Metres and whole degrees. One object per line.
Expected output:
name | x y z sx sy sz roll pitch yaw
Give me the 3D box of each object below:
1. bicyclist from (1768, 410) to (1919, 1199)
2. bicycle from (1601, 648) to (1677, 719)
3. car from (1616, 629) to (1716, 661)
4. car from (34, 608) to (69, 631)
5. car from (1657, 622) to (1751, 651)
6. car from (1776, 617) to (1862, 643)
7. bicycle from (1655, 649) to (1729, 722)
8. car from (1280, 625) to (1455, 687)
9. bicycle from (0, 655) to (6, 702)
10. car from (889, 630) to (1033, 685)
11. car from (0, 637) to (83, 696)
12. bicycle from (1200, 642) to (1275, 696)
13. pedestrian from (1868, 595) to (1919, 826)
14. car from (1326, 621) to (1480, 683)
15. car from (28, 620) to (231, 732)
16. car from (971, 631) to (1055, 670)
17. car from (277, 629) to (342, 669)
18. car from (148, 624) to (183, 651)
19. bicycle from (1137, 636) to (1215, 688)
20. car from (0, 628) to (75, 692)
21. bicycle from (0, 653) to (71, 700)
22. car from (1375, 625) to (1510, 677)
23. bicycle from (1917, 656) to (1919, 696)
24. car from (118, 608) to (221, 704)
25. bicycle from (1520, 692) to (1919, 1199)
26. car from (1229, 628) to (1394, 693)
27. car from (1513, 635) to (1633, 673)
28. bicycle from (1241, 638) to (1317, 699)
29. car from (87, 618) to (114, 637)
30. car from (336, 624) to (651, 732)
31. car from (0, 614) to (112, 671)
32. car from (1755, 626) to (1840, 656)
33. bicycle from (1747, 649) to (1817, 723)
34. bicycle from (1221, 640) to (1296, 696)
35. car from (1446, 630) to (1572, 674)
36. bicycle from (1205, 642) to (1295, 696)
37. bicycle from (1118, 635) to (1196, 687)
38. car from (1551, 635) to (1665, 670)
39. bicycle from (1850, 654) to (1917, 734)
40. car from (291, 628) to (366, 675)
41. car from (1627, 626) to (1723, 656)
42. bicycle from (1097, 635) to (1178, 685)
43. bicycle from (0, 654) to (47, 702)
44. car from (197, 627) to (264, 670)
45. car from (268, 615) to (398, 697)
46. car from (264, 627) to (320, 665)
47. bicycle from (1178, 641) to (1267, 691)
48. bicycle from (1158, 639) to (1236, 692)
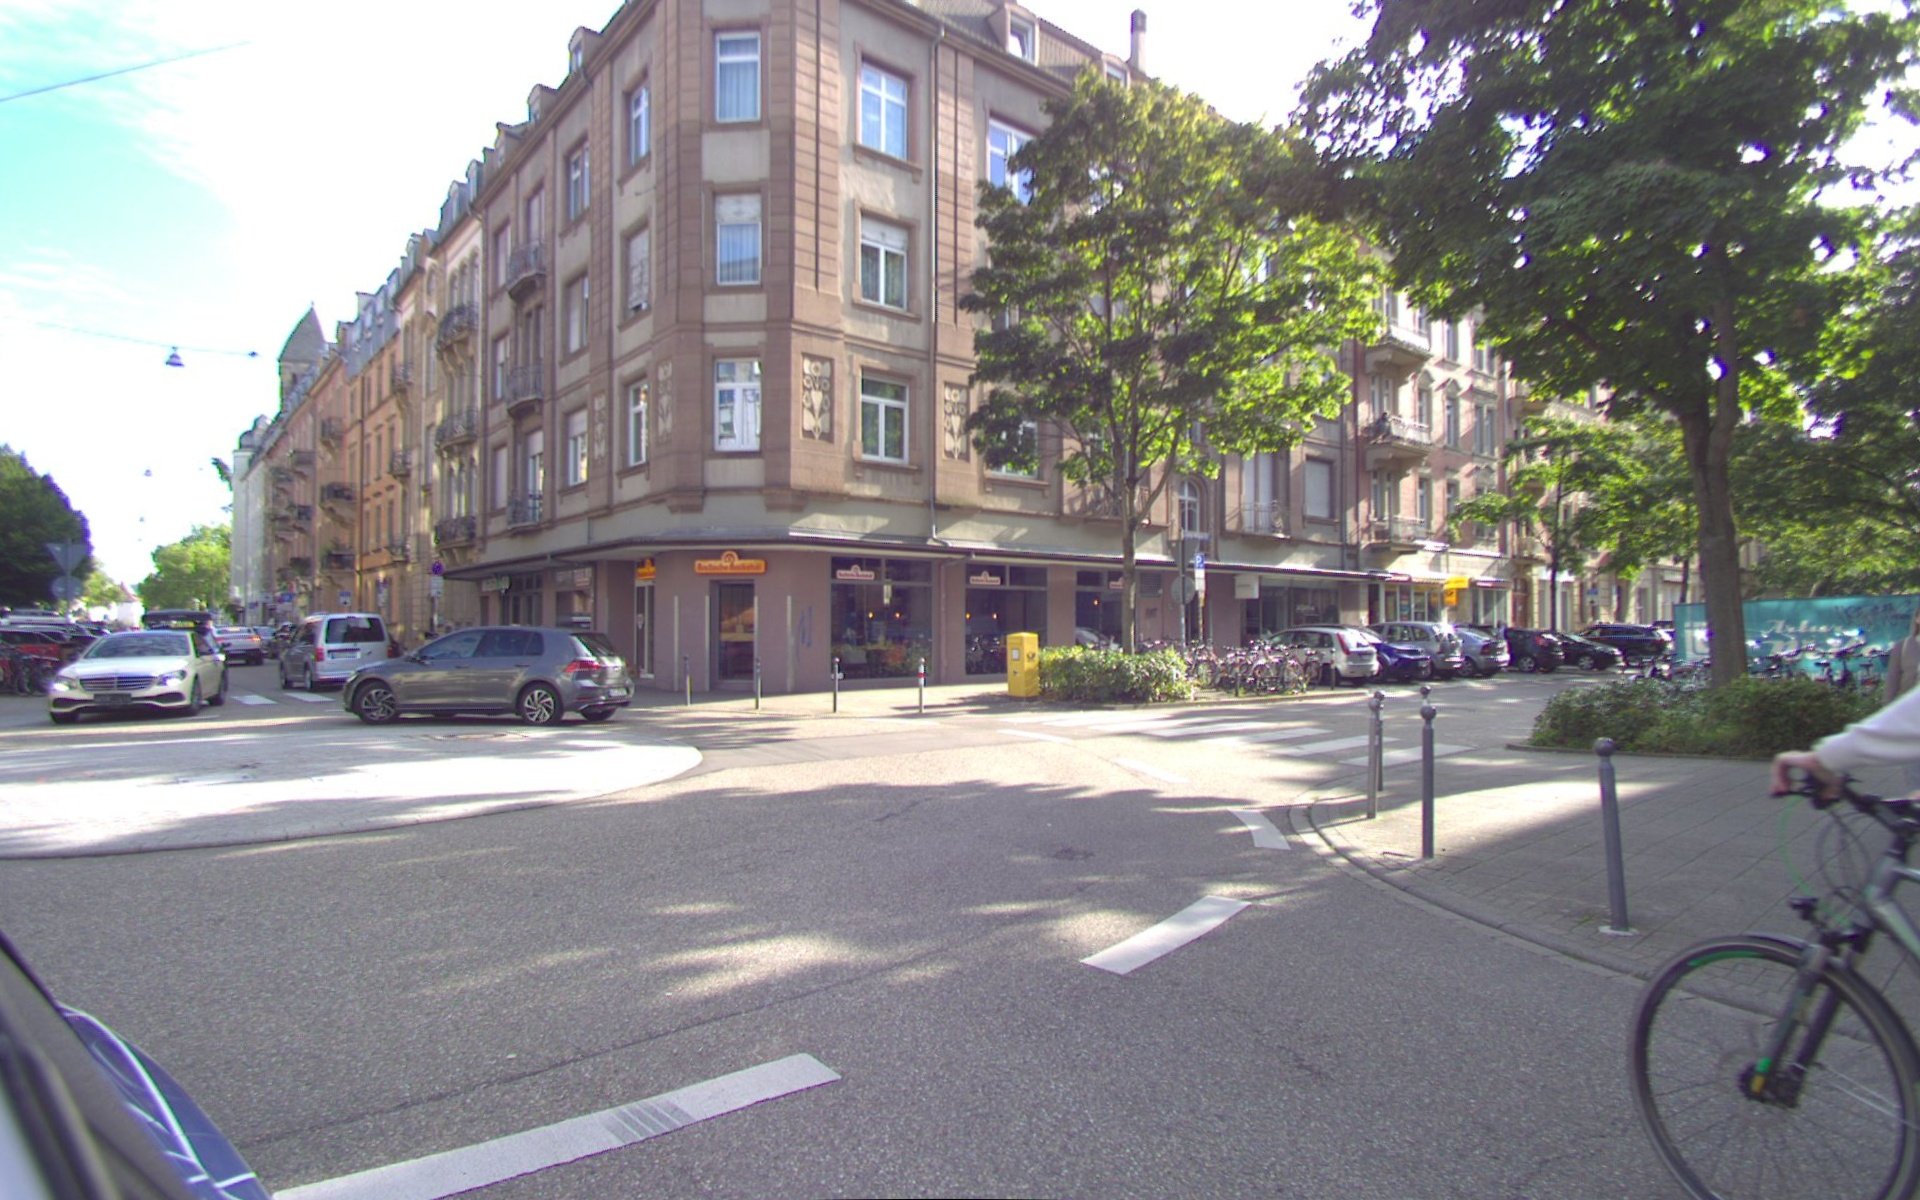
bicyclist | 2.334 0.478 1.908 0.691 1.690 1.115 2 -2 -36
bicycle | 11.033 1.327 16.416 0.591 1.038 2.111 -4 -4 44
car | 30.961 1.965 44.450 1.384 1.326 3.345 3 -4 -39
car | -71.155 1.534 79.213 4.002 1.747 1.824 -3 -2 45
car | 35.269 1.755 48.039 1.384 1.326 3.345 3 -4 -39
car | 50.542 1.768 59.579 1.779 1.483 3.718 0 -2 -45
bicycle | 11.469 1.306 15.833 0.591 1.038 2.046 -4 -4 44
car | 10.802 1.462 27.093 1.552 1.488 4.081 -1 -1 -39
bicycle | -21.452 1.672 21.803 1.850 0.993 0.469 0 -3 20
car | -0.021 1.643 29.355 3.998 1.441 1.742 -2 -1 41
car | -23.295 1.557 23.902 1.505 1.391 3.557 -1 -4 24
bicycle | 6.168 1.502 22.432 2.229 1.143 0.479 2 -3 -43
pedestrian | 7.009 0.751 7.124 0.796 1.590 0.616 -1 -4 -33
car | 12.594 1.452 28.948 1.552 1.608 3.706 -1 -1 -39
car | -14.248 1.190 17.679 1.912 1.609 4.851 -1 -1 -29
car | 2.387 2.255 45.452 3.575 1.578 1.582 -1 -1 -38
car | -26.880 1.992 41.765 1.735 1.508 4.139 0 -1 -41
car | -60.716 2.868 77.310 1.915 1.894 4.843 0 -1 -41
bicycle | 5.034 1.407 23.449 2.394 1.143 0.479 2 -3 -43
car | -25.094 1.506 25.711 1.506 1.628 3.555 -1 -4 27
bicycle | -21.021 1.713 22.891 1.850 0.993 0.469 0 -3 20
car | 14.389 1.503 30.302 1.355 1.454 3.345 0 -1 -39
bicycle | 14.025 1.294 14.338 0.591 0.976 2.046 -4 -4 44
car | -18.771 1.290 24.134 1.764 2.079 4.009 1 -2 -37
bicycle | 2.318 0.861 1.905 0.691 1.229 2.122 2 -2 -36
car | 8.898 1.503 25.859 1.552 1.488 3.706 -1 -1 -39
car | 21.604 1.894 35.769 1.355 1.263 3.345 3 -4 -39
bicycle | 6.845 1.444 21.650 2.258 1.234 0.479 2 -3 -43
car | -92.002 2.930 108.333 1.968 1.903 4.008 -1 -1 -38
car | -6.822 1.112 14.952 3.960 1.449 1.790 -1 -3 13
car | -41.671 1.905 45.805 1.983 2.441 4.711 -2 -1 17
car | 46.617 2.276 56.385 1.571 1.605 3.366 -1 -1 -38
bicycle | 12.439 1.270 15.297 0.591 1.019 2.046 -4 -4 44
bicycle | 6.526 1.455 22.050 2.256 1.166 0.479 2 -3 -43
car | 17.867 1.691 33.028 1.355 1.342 3.345 3 -4 -39
bicycle | 6.680 1.561 23.225 2.473 1.110 0.652 0 -2 -39
bicycle | 4.675 1.412 23.850 2.394 1.143 0.479 2 -3 -43
car | 24.424 1.973 38.221 1.355 1.263 3.345 3 -4 -39
bicycle | 13.292 1.316 14.542 0.591 1.019 2.046 -4 -4 44
car | -23.716 1.864 37.937 1.833 1.596 4.406 0 -1 -39
car | 32.915 1.879 46.621 1.384 1.326 3.345 3 -4 -39
bicycle | 4.286 1.417 24.275 2.394 1.143 0.580 2 -3 -43
bicycle | -21.164 1.717 22.466 1.850 0.993 0.469 0 -3 20
car | -29.730 1.943 41.187 1.968 1.647 4.852 0 -2 -39
car | -15.346 1.338 24.672 1.808 1.804 4.333 0 -2 -44
car | -30.880 2.102 46.736 1.735 1.610 4.349 0 -2 -39
bicycle | 6.177 1.524 23.727 2.473 1.110 0.709 1 -4 -40
bicycle | 5.422 1.464 23.060 2.394 1.143 0.479 2 -3 -43
